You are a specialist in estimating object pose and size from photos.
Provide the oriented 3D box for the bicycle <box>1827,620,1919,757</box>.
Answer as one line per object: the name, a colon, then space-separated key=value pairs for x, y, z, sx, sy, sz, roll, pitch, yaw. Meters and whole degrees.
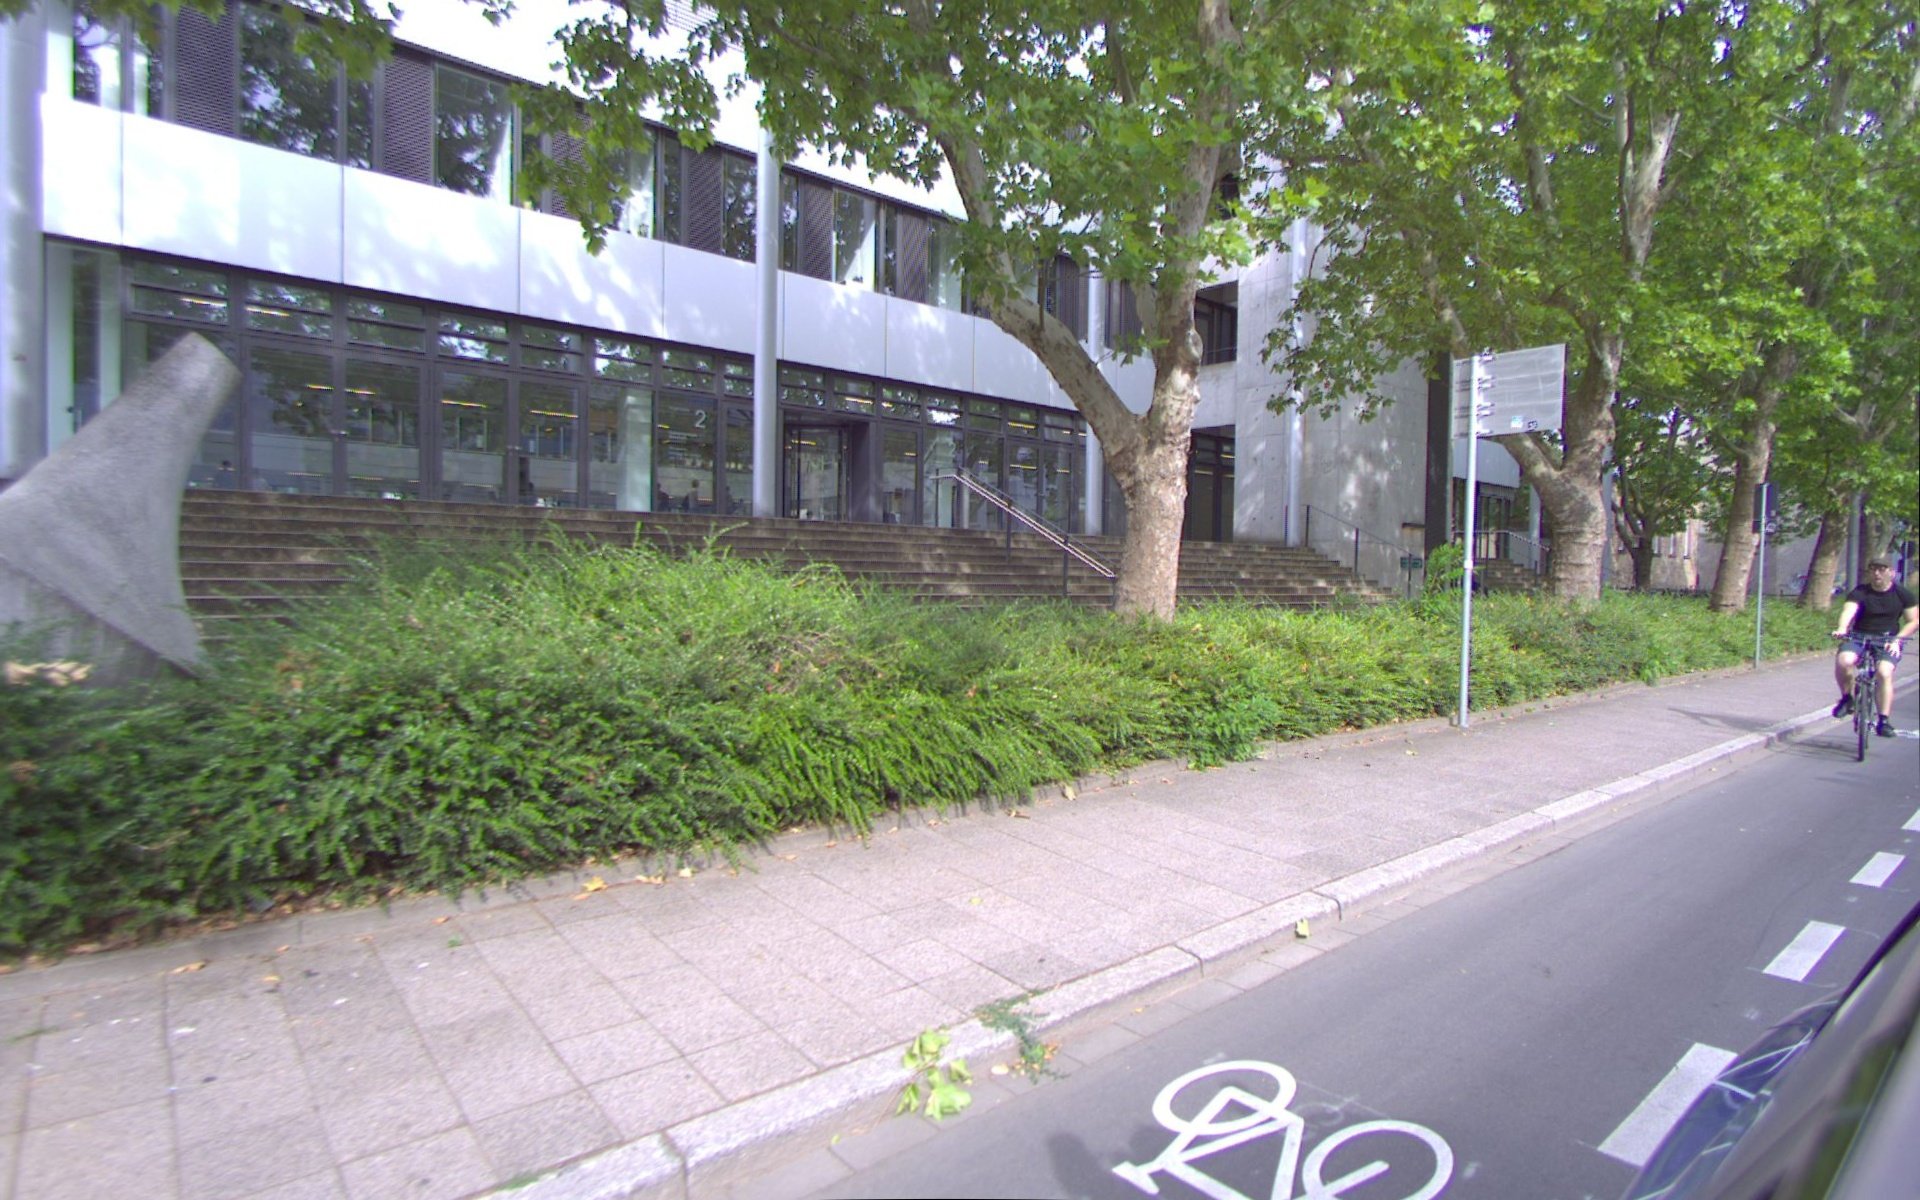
bicycle: x=8.743 y=0.776 z=9.544 sx=0.770 sy=1.145 sz=1.973 roll=-1 pitch=-1 yaw=43

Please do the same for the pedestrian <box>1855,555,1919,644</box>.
pedestrian: x=21.852 y=-0.022 z=23.838 sx=0.980 sy=2.039 sz=1.003 roll=0 pitch=0 yaw=-39

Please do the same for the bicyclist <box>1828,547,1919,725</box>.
bicyclist: x=8.746 y=0.329 z=9.566 sx=0.770 sy=1.603 sz=0.789 roll=-2 pitch=-1 yaw=43

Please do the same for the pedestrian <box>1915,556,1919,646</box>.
pedestrian: x=22.498 y=0.019 z=23.011 sx=0.979 sy=2.039 sz=1.003 roll=0 pitch=0 yaw=-38
